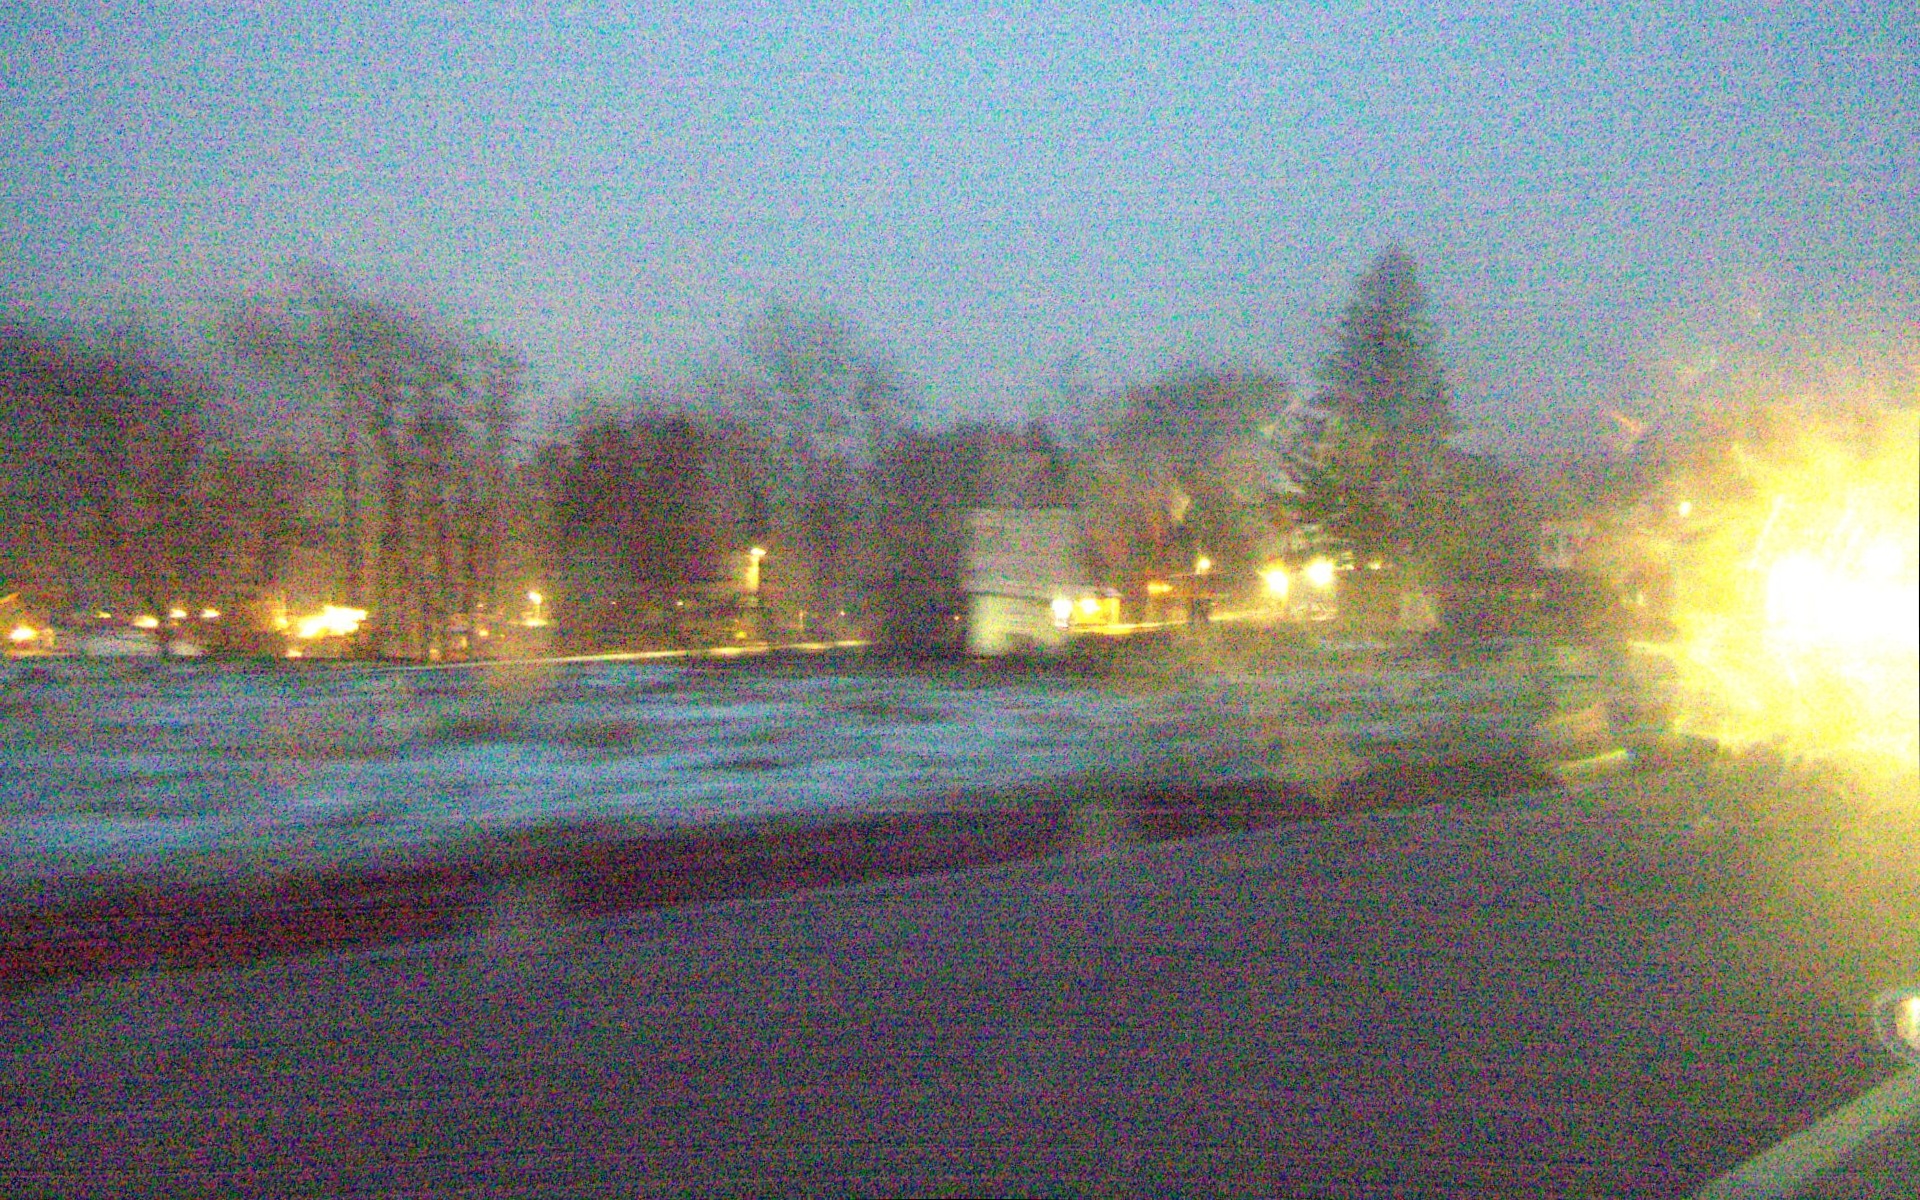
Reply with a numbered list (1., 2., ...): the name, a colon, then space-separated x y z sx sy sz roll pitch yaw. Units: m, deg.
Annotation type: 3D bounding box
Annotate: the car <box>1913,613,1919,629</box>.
1. car: 89.698 1.975 92.664 1.930 1.542 4.384 2 1 36
